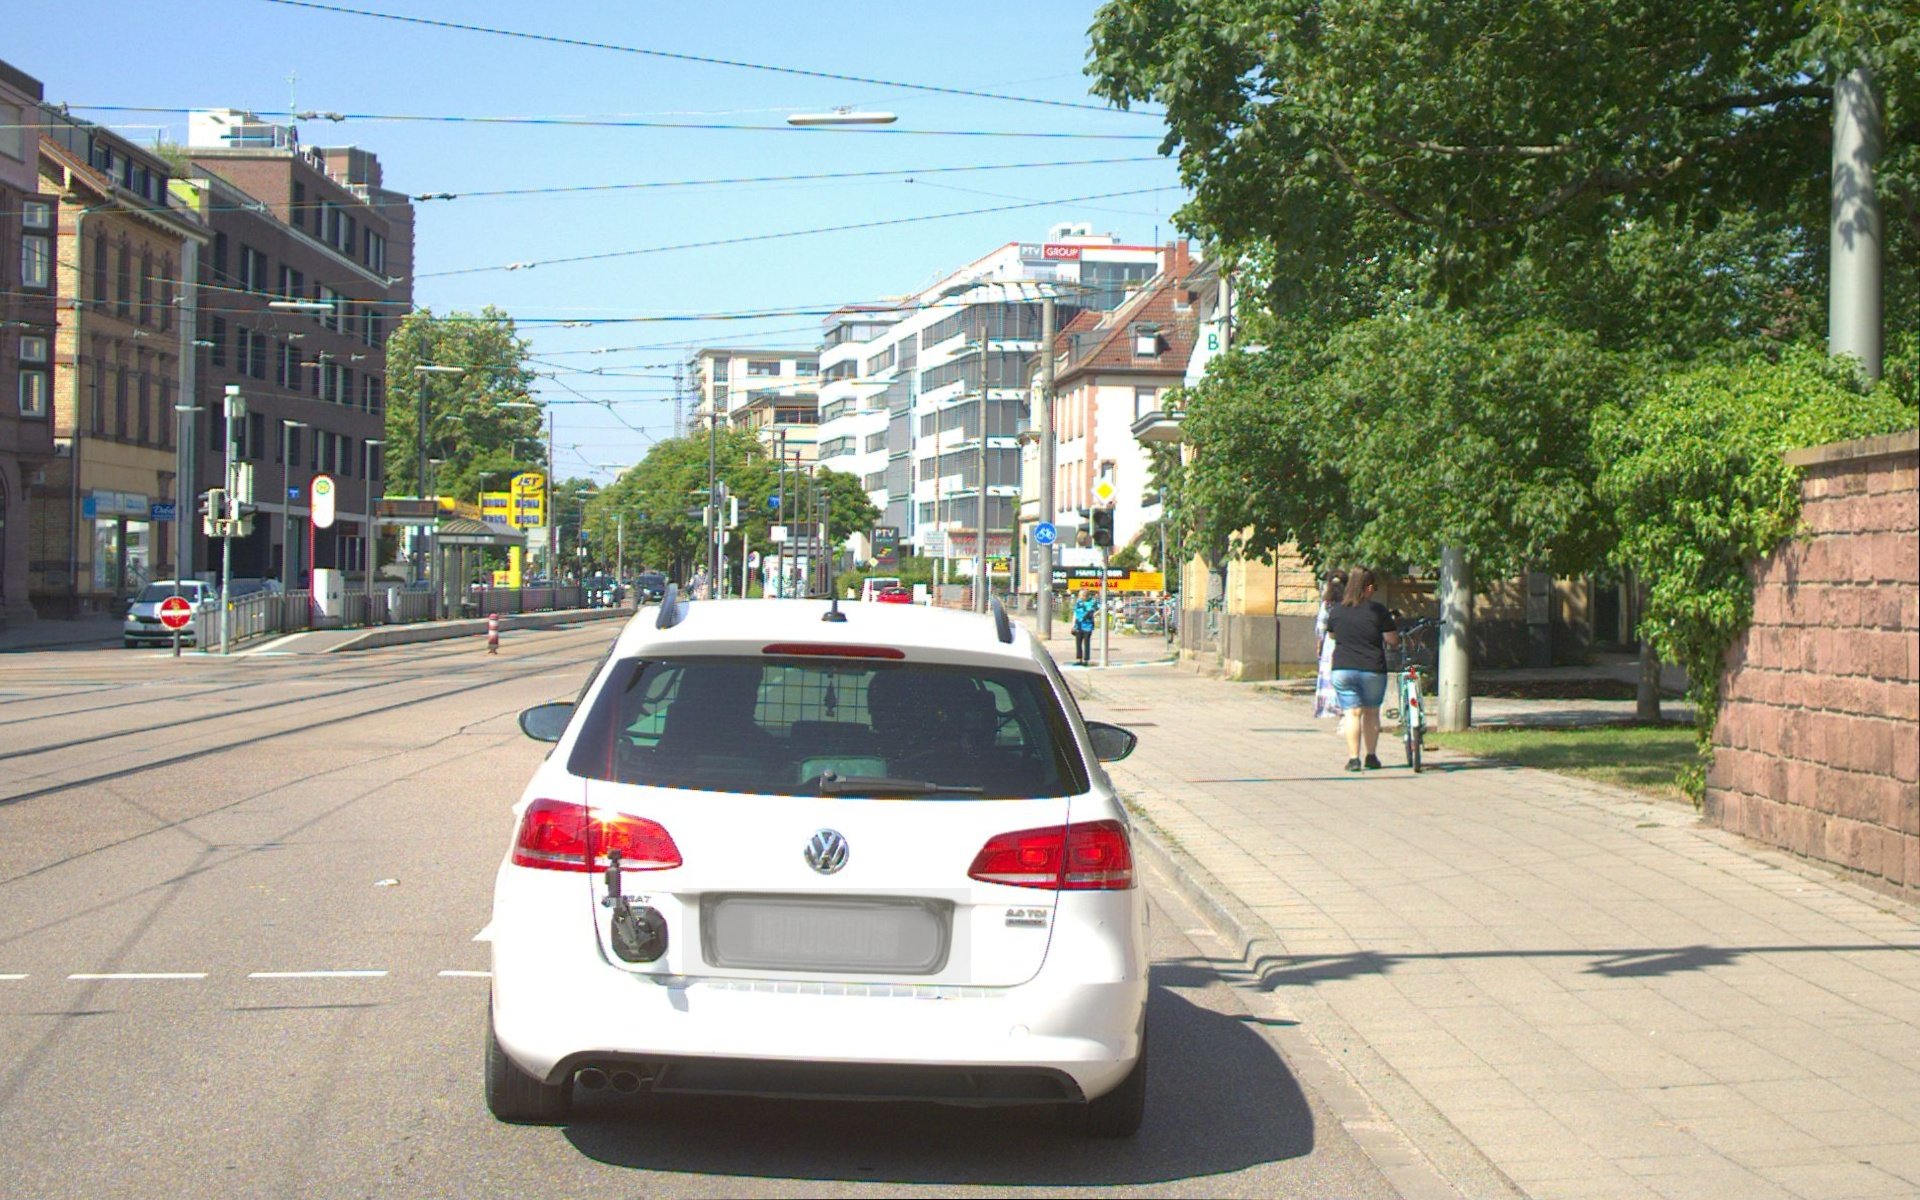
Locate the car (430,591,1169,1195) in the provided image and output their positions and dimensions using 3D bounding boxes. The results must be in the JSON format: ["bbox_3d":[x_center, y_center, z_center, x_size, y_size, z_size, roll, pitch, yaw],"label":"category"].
[{"bbox_3d":[-0.404,0.698,10.169,1.752,1.413,3.853,1,0,-1],"label":"car"}]

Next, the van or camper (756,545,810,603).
[{"bbox_3d":[-9.861,-1.442,192.277,2.943,3.169,6.614,1,0,-3],"label":"van or camper"}]

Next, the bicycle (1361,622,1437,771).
[{"bbox_3d":[3.411,0.727,26.661,0.536,1.107,1.806,0,0,9],"label":"bicycle"}]

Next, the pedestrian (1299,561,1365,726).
[{"bbox_3d":[3.840,0.444,35.469,0.650,1.676,0.707,1,0,7],"label":"pedestrian"}]

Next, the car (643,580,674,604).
[{"bbox_3d":[-18.936,-0.485,215.798,1.667,1.461,3.773,1,0,-1],"label":"car"}]

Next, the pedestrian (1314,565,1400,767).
[{"bbox_3d":[3.102,0.509,26.904,0.540,1.543,0.663,-1,0,-1],"label":"pedestrian"}]

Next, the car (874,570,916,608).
[{"bbox_3d":[-3.577,-0.626,188.301,1.993,2.007,4.001,1,0,-5],"label":"car"}]

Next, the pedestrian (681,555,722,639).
[{"bbox_3d":[-5.618,-0.064,74.761,0.826,1.803,0.833,1,0,0],"label":"pedestrian"}]

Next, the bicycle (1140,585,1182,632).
[{"bbox_3d":[5.027,0.205,85.860,0.726,1.135,2.193,1,0,12],"label":"bicycle"}]

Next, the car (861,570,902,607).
[{"bbox_3d":[-4.421,-0.659,193.709,1.993,2.007,4.001,1,0,-5],"label":"car"}]

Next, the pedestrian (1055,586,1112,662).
[{"bbox_3d":[2.457,0.472,68.406,0.857,1.505,0.780,1,0,28],"label":"pedestrian"}]

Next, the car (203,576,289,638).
[{"bbox_3d":[-17.419,0.149,84.007,1.572,1.454,3.815,1,0,-4],"label":"car"}]

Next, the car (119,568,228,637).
[{"bbox_3d":[-17.413,0.044,76.253,1.625,1.426,3.963,2,0,-2],"label":"car"}]
